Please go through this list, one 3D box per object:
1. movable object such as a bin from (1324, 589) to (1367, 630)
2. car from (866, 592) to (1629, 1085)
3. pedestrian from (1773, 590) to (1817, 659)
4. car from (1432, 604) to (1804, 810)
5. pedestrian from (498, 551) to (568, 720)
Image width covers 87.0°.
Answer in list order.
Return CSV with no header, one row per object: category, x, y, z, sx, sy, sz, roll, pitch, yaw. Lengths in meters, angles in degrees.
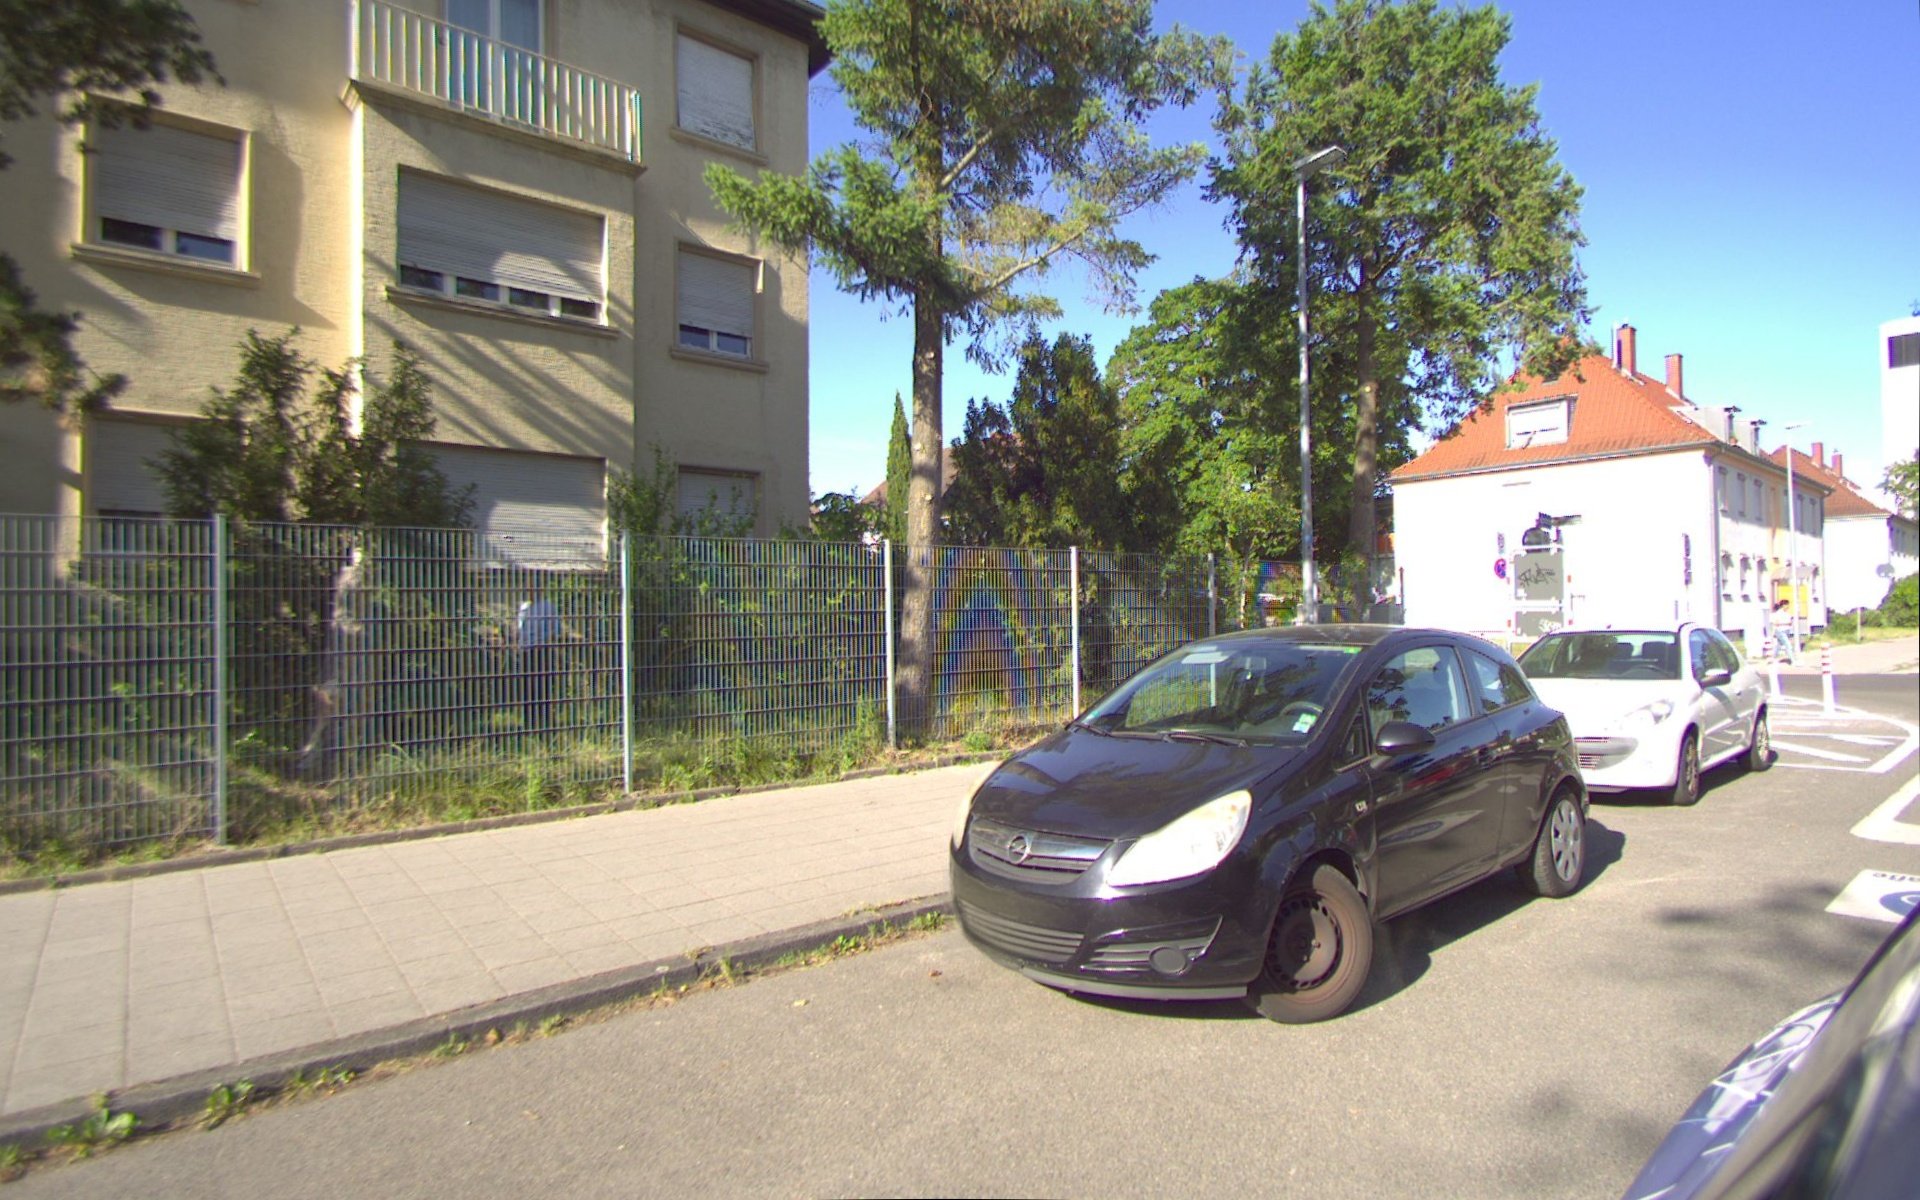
movable object such as a bin,15.525,0.389,40.781,1.173,1.629,1.173,0,-2,-40
car,1.663,0.775,5.144,3.924,1.530,1.797,0,-3,-40
pedestrian,21.110,0.611,25.583,0.637,1.688,0.651,-2,1,-29
car,6.123,0.813,9.239,4.061,1.441,1.674,0,-3,-40
pedestrian,-4.430,0.357,10.495,0.636,1.683,0.651,0,-2,-24
